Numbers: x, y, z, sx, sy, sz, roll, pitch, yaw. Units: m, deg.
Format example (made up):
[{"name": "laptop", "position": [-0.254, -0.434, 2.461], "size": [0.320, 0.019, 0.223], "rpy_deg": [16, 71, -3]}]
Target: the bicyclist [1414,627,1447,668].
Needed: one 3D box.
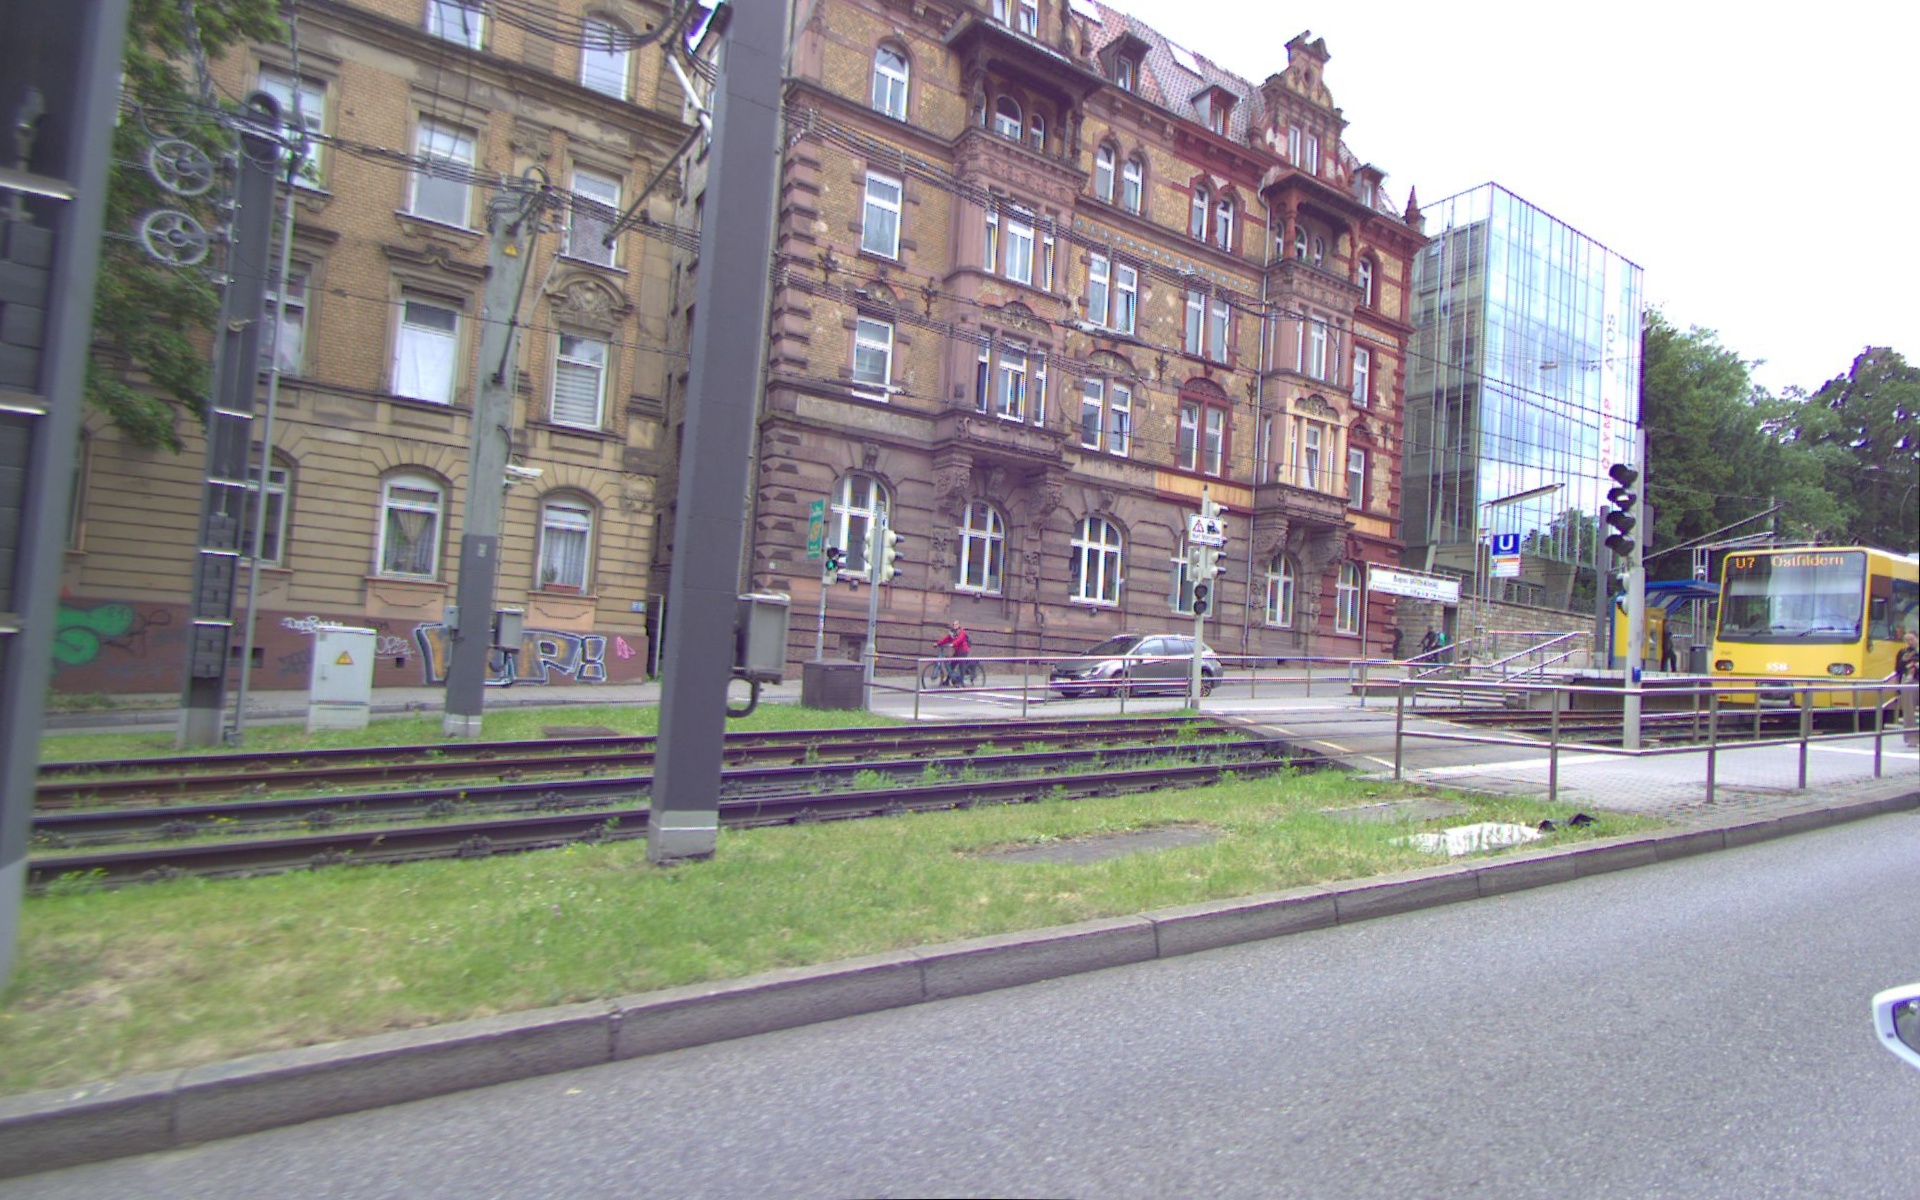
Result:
[{"name": "bicyclist", "position": [17.092, 1.709, 36.515], "size": [0.898, 1.446, 0.763], "rpy_deg": [1, -1, -36]}]

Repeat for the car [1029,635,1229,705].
[{"name": "car", "position": [3.911, 1.531, 22.988], "size": [4.512, 1.437, 1.871], "rpy_deg": [1, -2, -34]}]

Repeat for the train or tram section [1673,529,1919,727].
[{"name": "train or tram section", "position": [20.665, 0.908, 22.742], "size": [12.264, 3.589, 2.933], "rpy_deg": [4, -3, -32]}]

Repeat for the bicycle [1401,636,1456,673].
[{"name": "bicycle", "position": [17.038, 1.971, 36.477], "size": [2.403, 1.301, 0.767], "rpy_deg": [2, -1, -37]}]

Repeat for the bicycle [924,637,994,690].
[{"name": "bicycle", "position": [-0.017, 1.507, 24.098], "size": [1.582, 1.239, 0.622], "rpy_deg": [1, -1, -30]}]

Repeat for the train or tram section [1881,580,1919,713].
[{"name": "train or tram section", "position": [30.763, 1.672, 29.130], "size": [12.087, 3.516, 2.934], "rpy_deg": [5, -4, -32]}]

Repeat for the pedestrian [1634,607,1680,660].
[{"name": "pedestrian", "position": [21.887, 1.040, 31.539], "size": [0.757, 1.617, 0.970], "rpy_deg": [1, -1, -31]}]

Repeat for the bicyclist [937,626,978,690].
[{"name": "bicyclist", "position": [-0.059, 1.389, 24.156], "size": [0.803, 1.499, 0.615], "rpy_deg": [1, -1, -31]}]

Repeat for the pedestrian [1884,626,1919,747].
[{"name": "pedestrian", "position": [13.939, 1.250, 14.647], "size": [0.655, 1.717, 0.616], "rpy_deg": [2, -1, -41]}]

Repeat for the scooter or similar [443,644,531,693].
[{"name": "scooter or similar", "position": [-9.640, 1.406, 20.503], "size": [1.567, 0.954, 0.426], "rpy_deg": [3, -2, -28]}]
